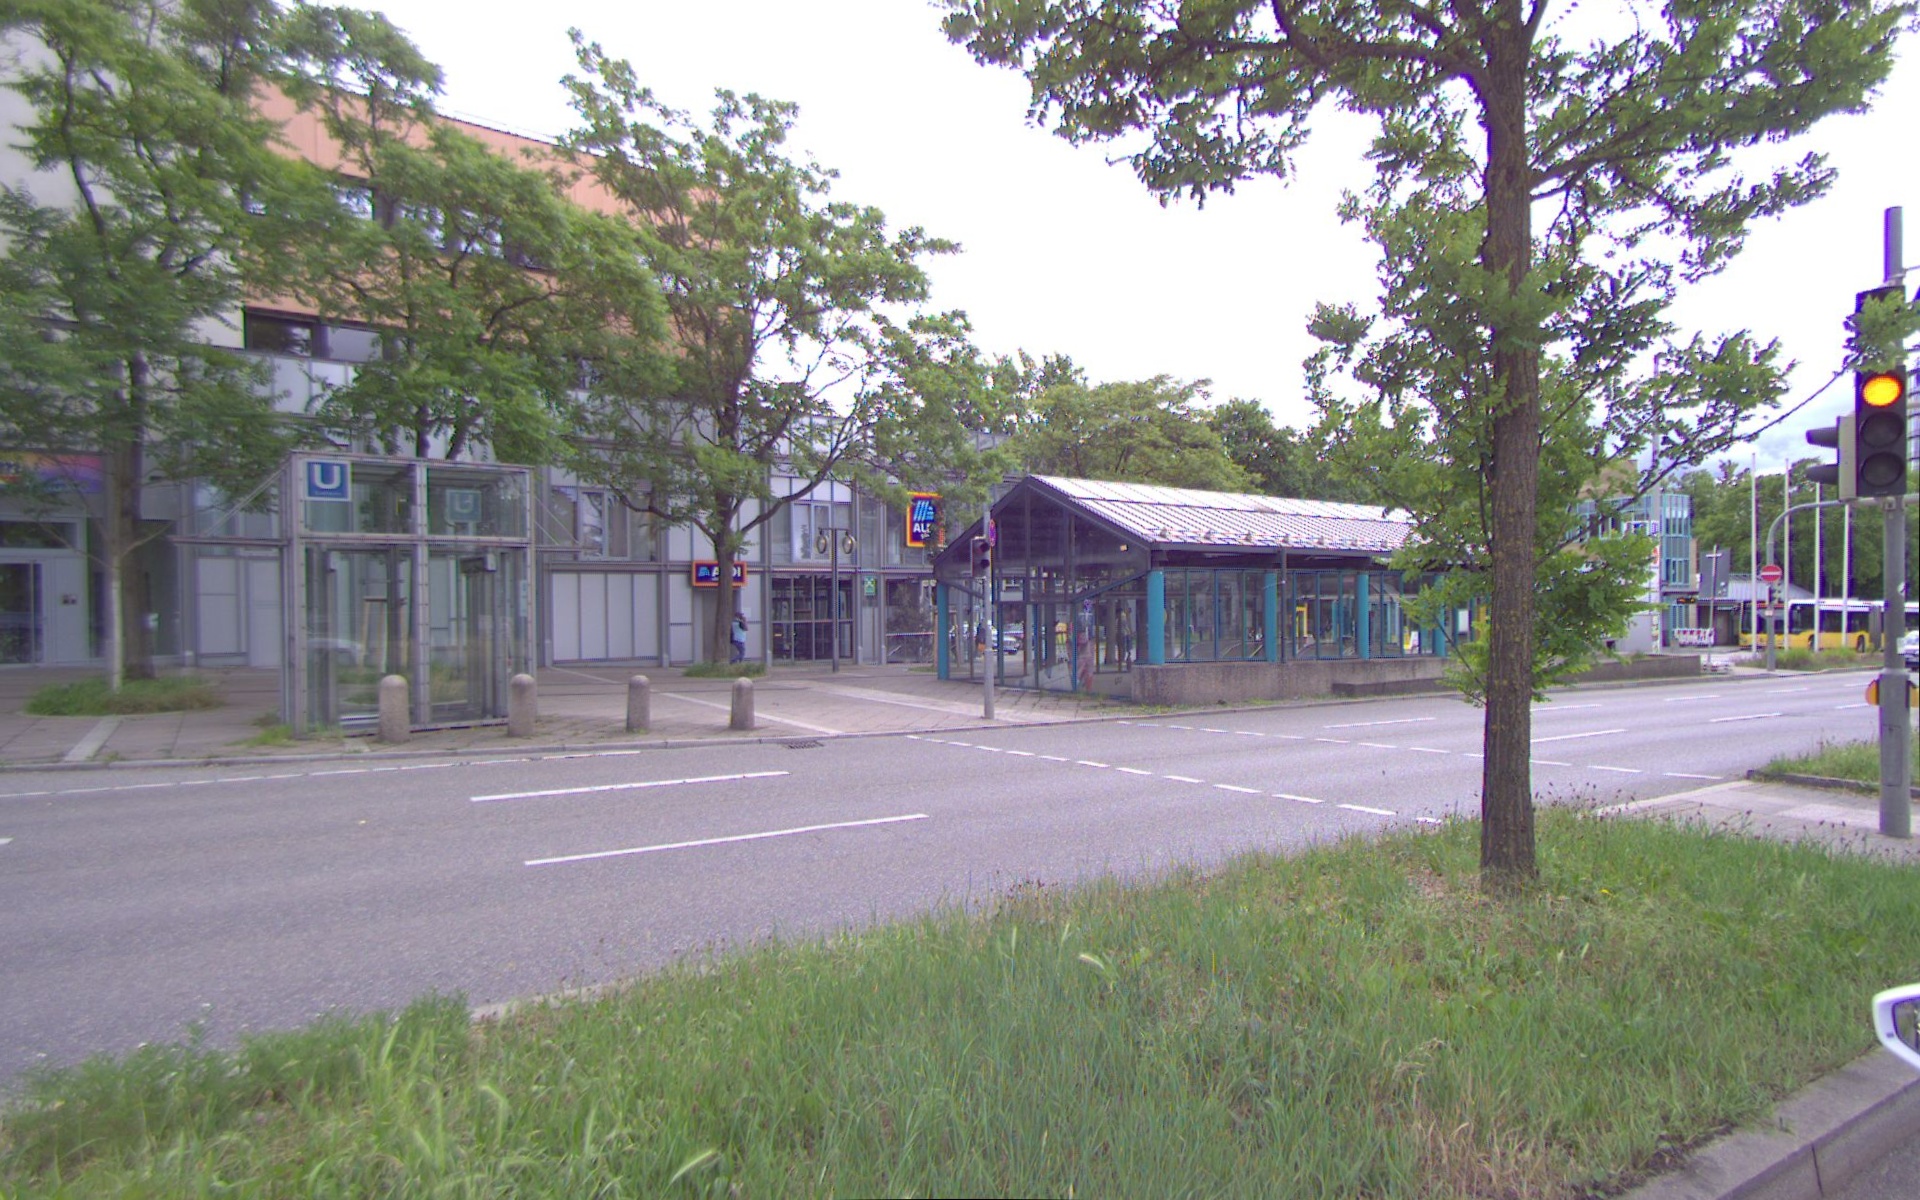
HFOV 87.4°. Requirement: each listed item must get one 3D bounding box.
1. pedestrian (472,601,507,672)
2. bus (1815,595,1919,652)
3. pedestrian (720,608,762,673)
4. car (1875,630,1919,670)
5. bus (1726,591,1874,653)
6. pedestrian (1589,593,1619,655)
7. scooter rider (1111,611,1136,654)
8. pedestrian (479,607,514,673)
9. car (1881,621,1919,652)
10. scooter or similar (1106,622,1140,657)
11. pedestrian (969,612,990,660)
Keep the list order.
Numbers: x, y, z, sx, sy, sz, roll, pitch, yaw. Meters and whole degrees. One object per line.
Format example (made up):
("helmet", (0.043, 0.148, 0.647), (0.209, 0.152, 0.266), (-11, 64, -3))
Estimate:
("pedestrian", (-11.918, 0.914, 25.435), (0.674, 1.750, 0.560), (1, -1, -39))
("bus", (59.361, 1.562, 64.519), (10.592, 3.476, 2.822), (1, -1, -26))
("pedestrian", (-6.090, 1.110, 27.925), (0.879, 1.739, 0.764), (1, 2, -39))
("car", (37.813, 1.932, 39.298), (3.955, 1.505, 1.983), (1, -1, -32))
("bus", (50.173, 1.360, 59.894), (10.592, 3.476, 2.822), (1, -1, -26))
("pedestrian", (21.687, 0.810, 33.832), (0.639, 2.040, 0.677), (1, -1, -34))
("scooter rider", (6.075, 1.218, 37.357), (0.700, 1.566, 0.521), (1, 2, -38))
("pedestrian", (-11.513, 0.987, 24.949), (0.674, 1.610, 0.513), (1, -1, -39))
("car", (54.392, 2.065, 57.121), (3.951, 1.684, 1.798), (1, -1, -29))
("scooter or similar", (6.078, 1.460, 37.361), (1.276, 1.284, 0.476), (1, 2, -38))
("pedestrian", (0.725, 1.328, 37.318), (0.693, 1.739, 0.772), (2, 1, 1))
